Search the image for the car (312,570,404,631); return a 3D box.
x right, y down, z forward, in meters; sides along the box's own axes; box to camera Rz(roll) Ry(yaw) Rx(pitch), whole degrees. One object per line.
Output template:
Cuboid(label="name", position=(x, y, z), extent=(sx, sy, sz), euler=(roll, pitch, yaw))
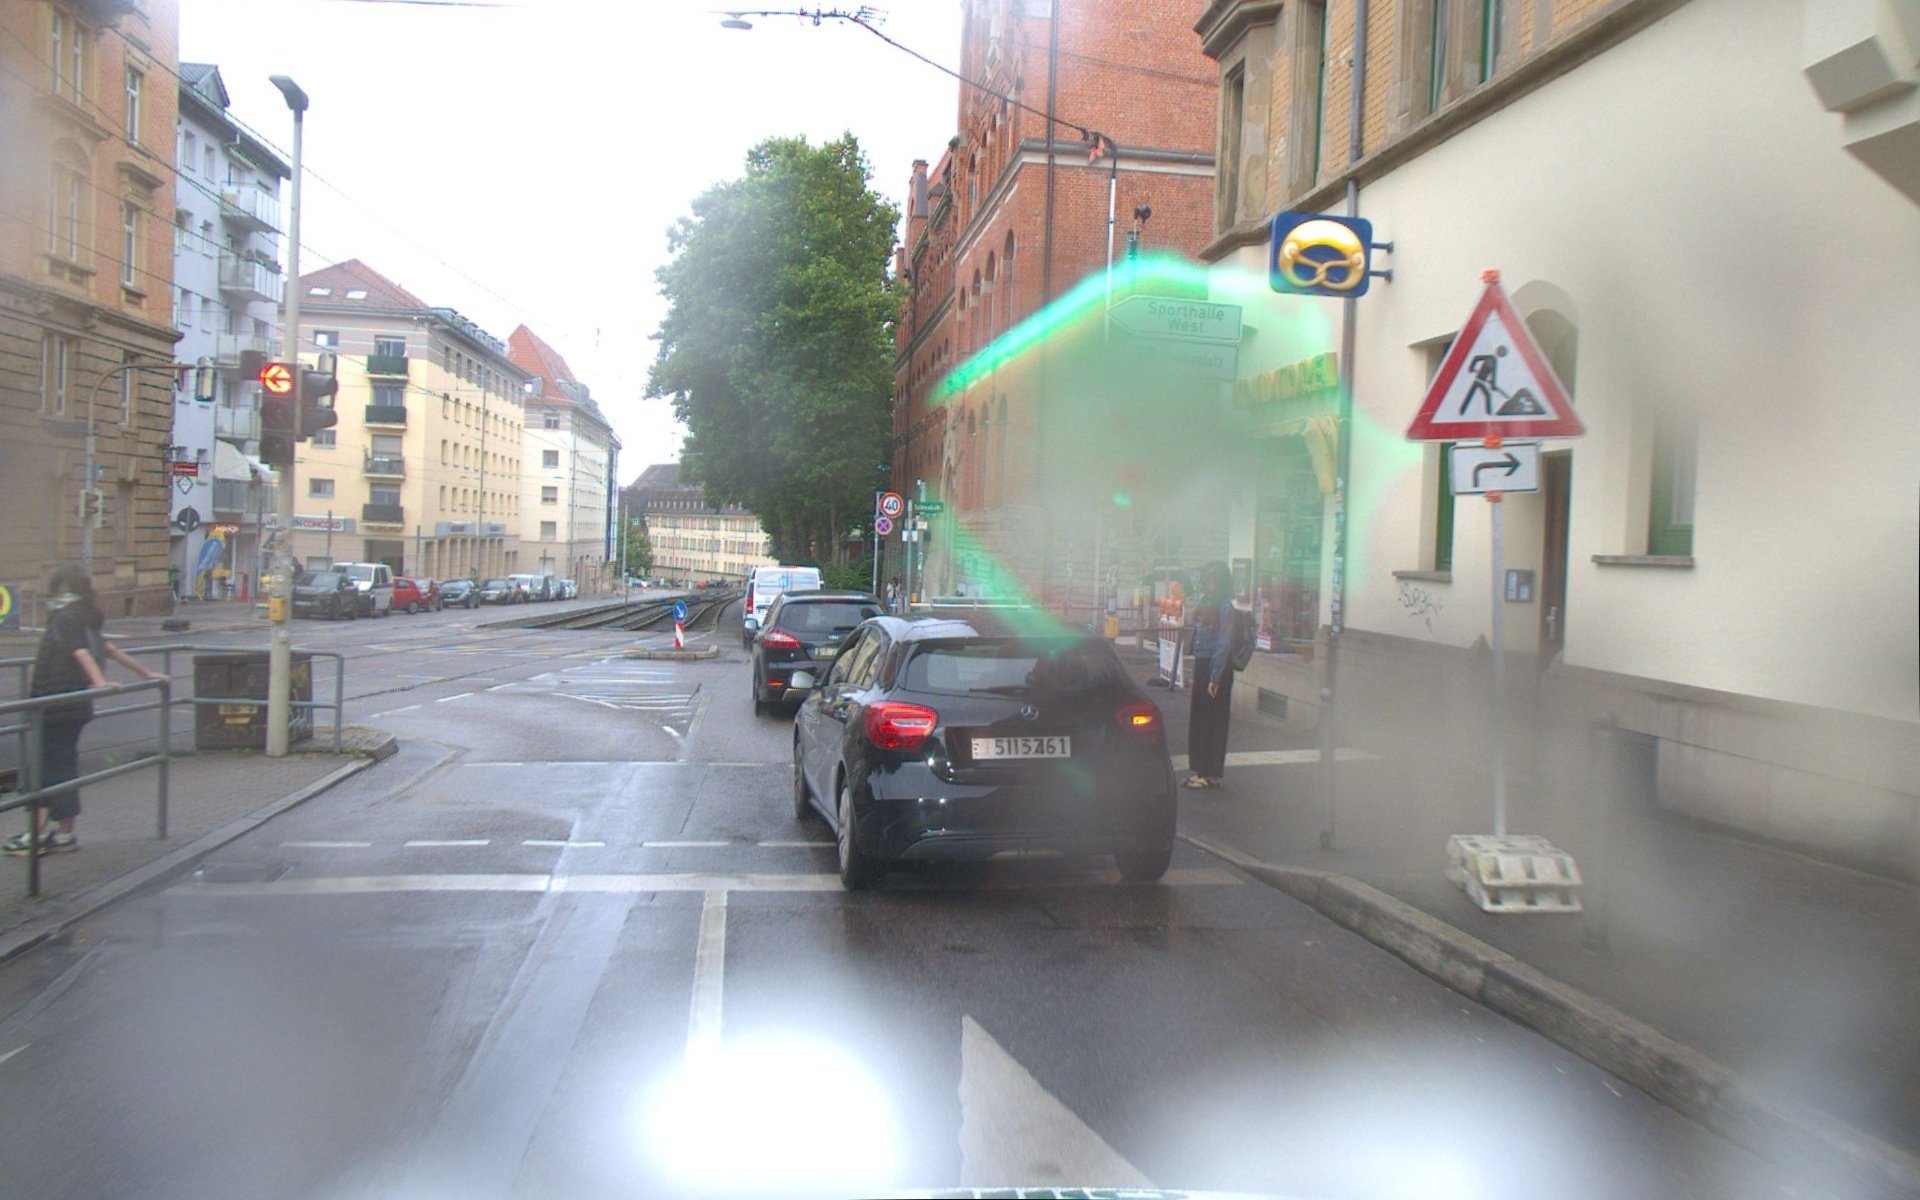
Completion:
Cuboid(label="car", position=(-22.645, -0.020, 62.425), extent=(2.031, 2.044, 5.293), euler=(4, 0, -7))

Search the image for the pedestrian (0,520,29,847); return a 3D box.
Cuboid(label="pedestrian", position=(-5.731, 0.464, 9.011), extent=(0.810, 1.830, 0.999), euler=(1, 0, -9))

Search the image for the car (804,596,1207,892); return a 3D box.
Cuboid(label="car", position=(0.054, 0.710, 10.046), extent=(1.760, 1.399, 3.993), euler=(2, 0, -8))

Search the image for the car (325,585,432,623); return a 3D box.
Cuboid(label="car", position=(-23.548, 0.182, 67.089), extent=(1.745, 1.459, 3.978), euler=(2, 0, 26))

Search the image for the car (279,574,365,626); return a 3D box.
Cuboid(label="car", position=(-21.709, -0.012, 56.425), extent=(1.700, 1.680, 4.356), euler=(2, 0, -8))

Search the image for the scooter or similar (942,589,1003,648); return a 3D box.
Cuboid(label="scooter or similar", position=(0.272, 0.392, 36.225), extent=(1.220, 1.272, 0.638), euler=(0, 0, 14))

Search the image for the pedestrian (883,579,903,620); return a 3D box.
Cuboid(label="pedestrian", position=(-2.807, -0.031, 69.304), extent=(0.807, 1.708, 0.859), euler=(1, 0, -5))

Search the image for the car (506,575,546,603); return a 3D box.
Cuboid(label="car", position=(-27.989, -0.694, 106.806), extent=(1.831, 1.747, 4.453), euler=(1, 0, -7))

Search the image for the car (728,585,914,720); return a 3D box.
Cuboid(label="car", position=(-1.860, 0.591, 20.843), extent=(1.898, 1.478, 4.307), euler=(2, 0, -10))

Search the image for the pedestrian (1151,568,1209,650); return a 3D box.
Cuboid(label="pedestrian", position=(4.523, 0.181, 34.031), extent=(0.940, 1.654, 1.071), euler=(0, 0, -8))

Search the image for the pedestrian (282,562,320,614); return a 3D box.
Cuboid(label="pedestrian", position=(-25.395, -0.451, 63.795), extent=(1.152, 1.962, 1.173), euler=(2, 0, -14))

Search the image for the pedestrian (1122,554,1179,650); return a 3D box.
Cuboid(label="pedestrian", position=(3.894, 0.037, 33.887), extent=(0.940, 1.920, 1.071), euler=(0, 1, -8))

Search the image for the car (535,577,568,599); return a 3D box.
Cuboid(label="car", position=(-30.225, -0.928, 122.389), extent=(1.779, 1.525, 4.575), euler=(2, 0, -7))

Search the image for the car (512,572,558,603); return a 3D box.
Cuboid(label="car", position=(-28.947, -0.852, 112.796), extent=(1.954, 1.938, 5.455), euler=(3, 0, -4))

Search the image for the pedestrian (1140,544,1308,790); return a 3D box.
Cuboid(label="pedestrian", position=(1.974, 0.480, 12.485), extent=(0.997, 1.750, 0.929), euler=(-2, 0, -6))

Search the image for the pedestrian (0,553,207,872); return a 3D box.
Cuboid(label="pedestrian", position=(-4.705, 0.579, 9.018), extent=(0.819, 1.632, 0.999), euler=(1, 0, -9))

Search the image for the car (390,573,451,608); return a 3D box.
Cuboid(label="car", position=(-23.832, -0.399, 73.179), extent=(1.621, 1.477, 4.070), euler=(1, 0, -5))

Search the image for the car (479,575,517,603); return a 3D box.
Cuboid(label="car", position=(-26.656, -0.635, 95.536), extent=(1.819, 1.534, 4.976), euler=(1, 0, -12))

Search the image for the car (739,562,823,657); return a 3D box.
Cuboid(label="car", position=(-4.155, 0.203, 38.047), extent=(1.708, 2.049, 3.895), euler=(1, 0, -9))

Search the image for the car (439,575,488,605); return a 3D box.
Cuboid(label="car", position=(-24.647, -0.487, 82.193), extent=(1.648, 1.420, 4.613), euler=(1, 0, -9))
